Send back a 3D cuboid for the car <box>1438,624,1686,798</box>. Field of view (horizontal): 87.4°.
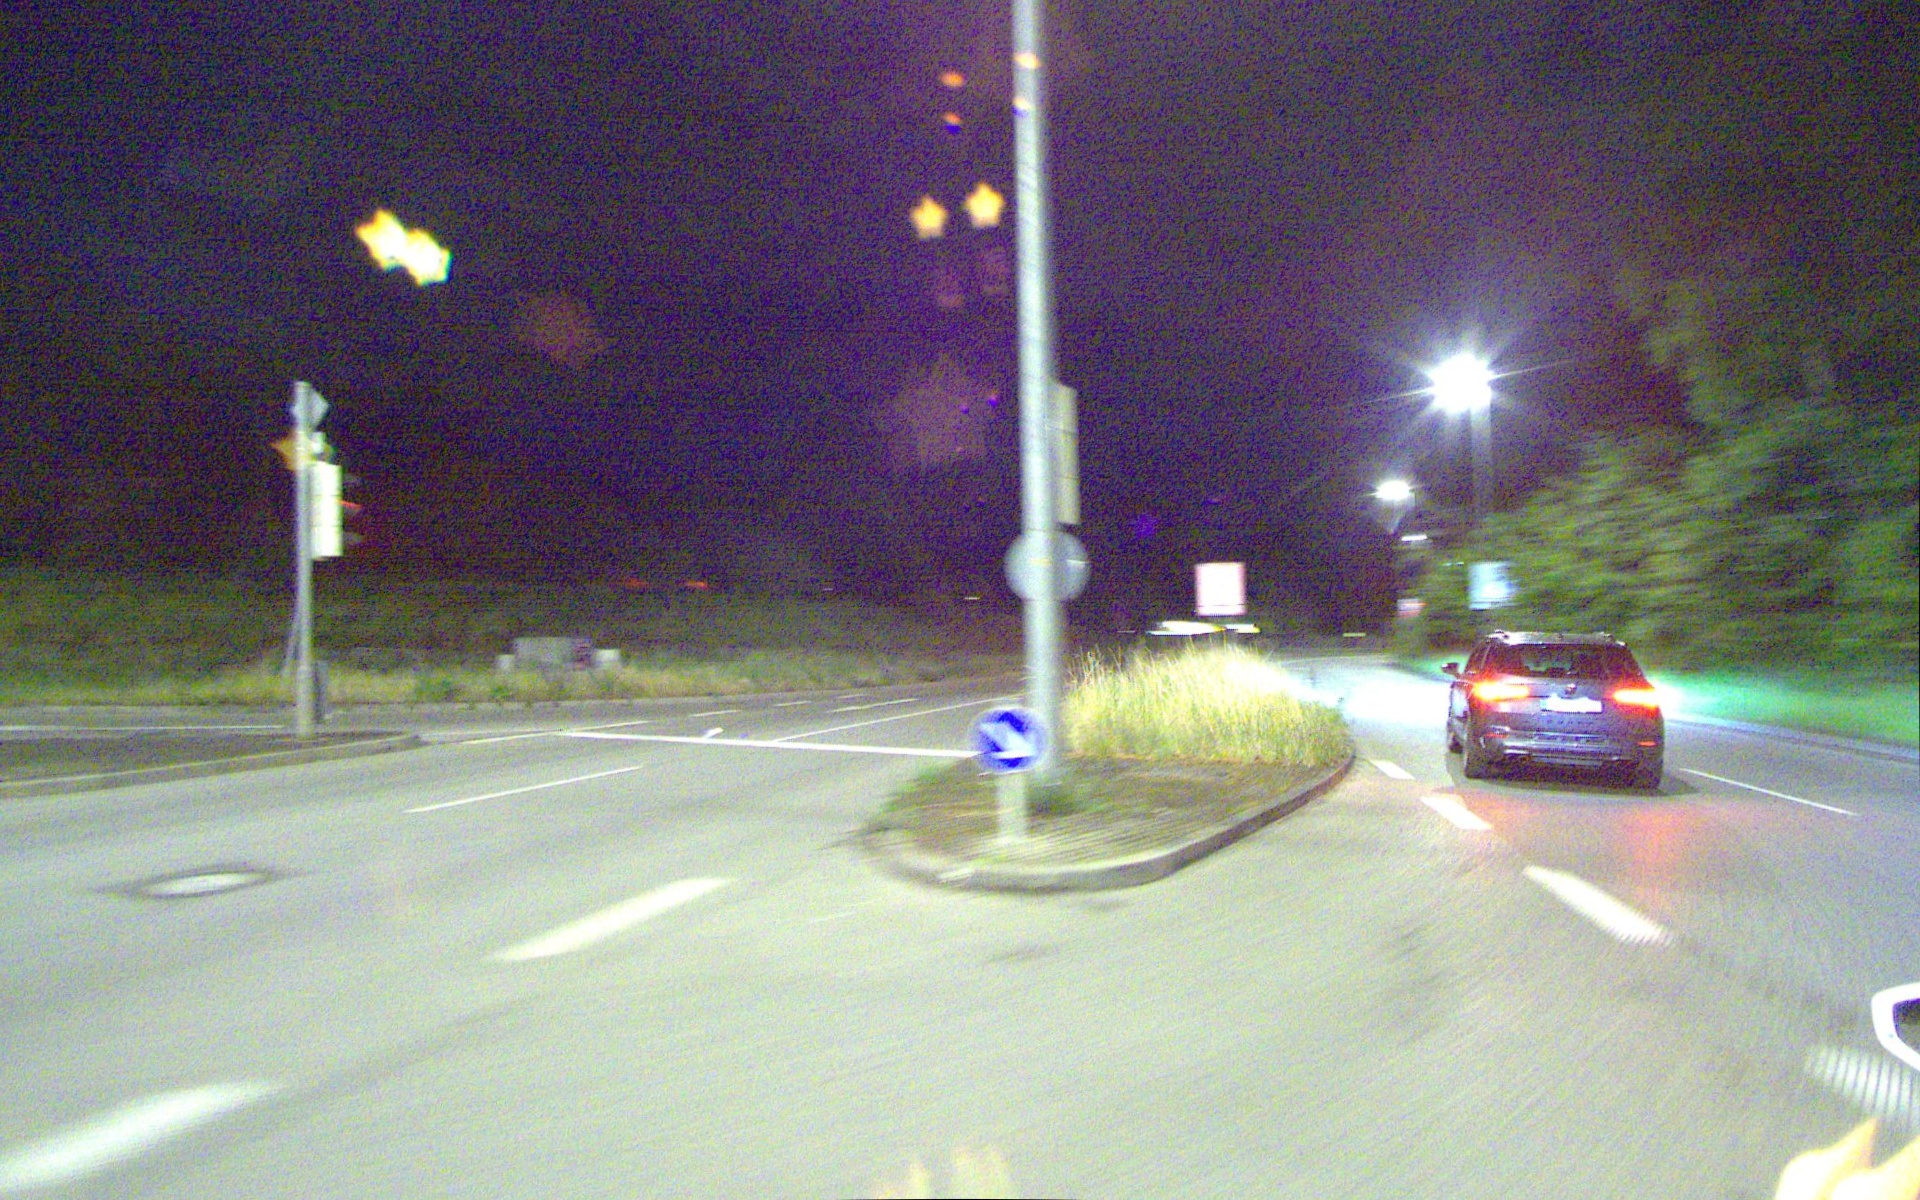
[{"bbox_3d":[6.728,1.130,11.674,1.822,1.603,4.006,1,-2,22],"label":"car"}]
